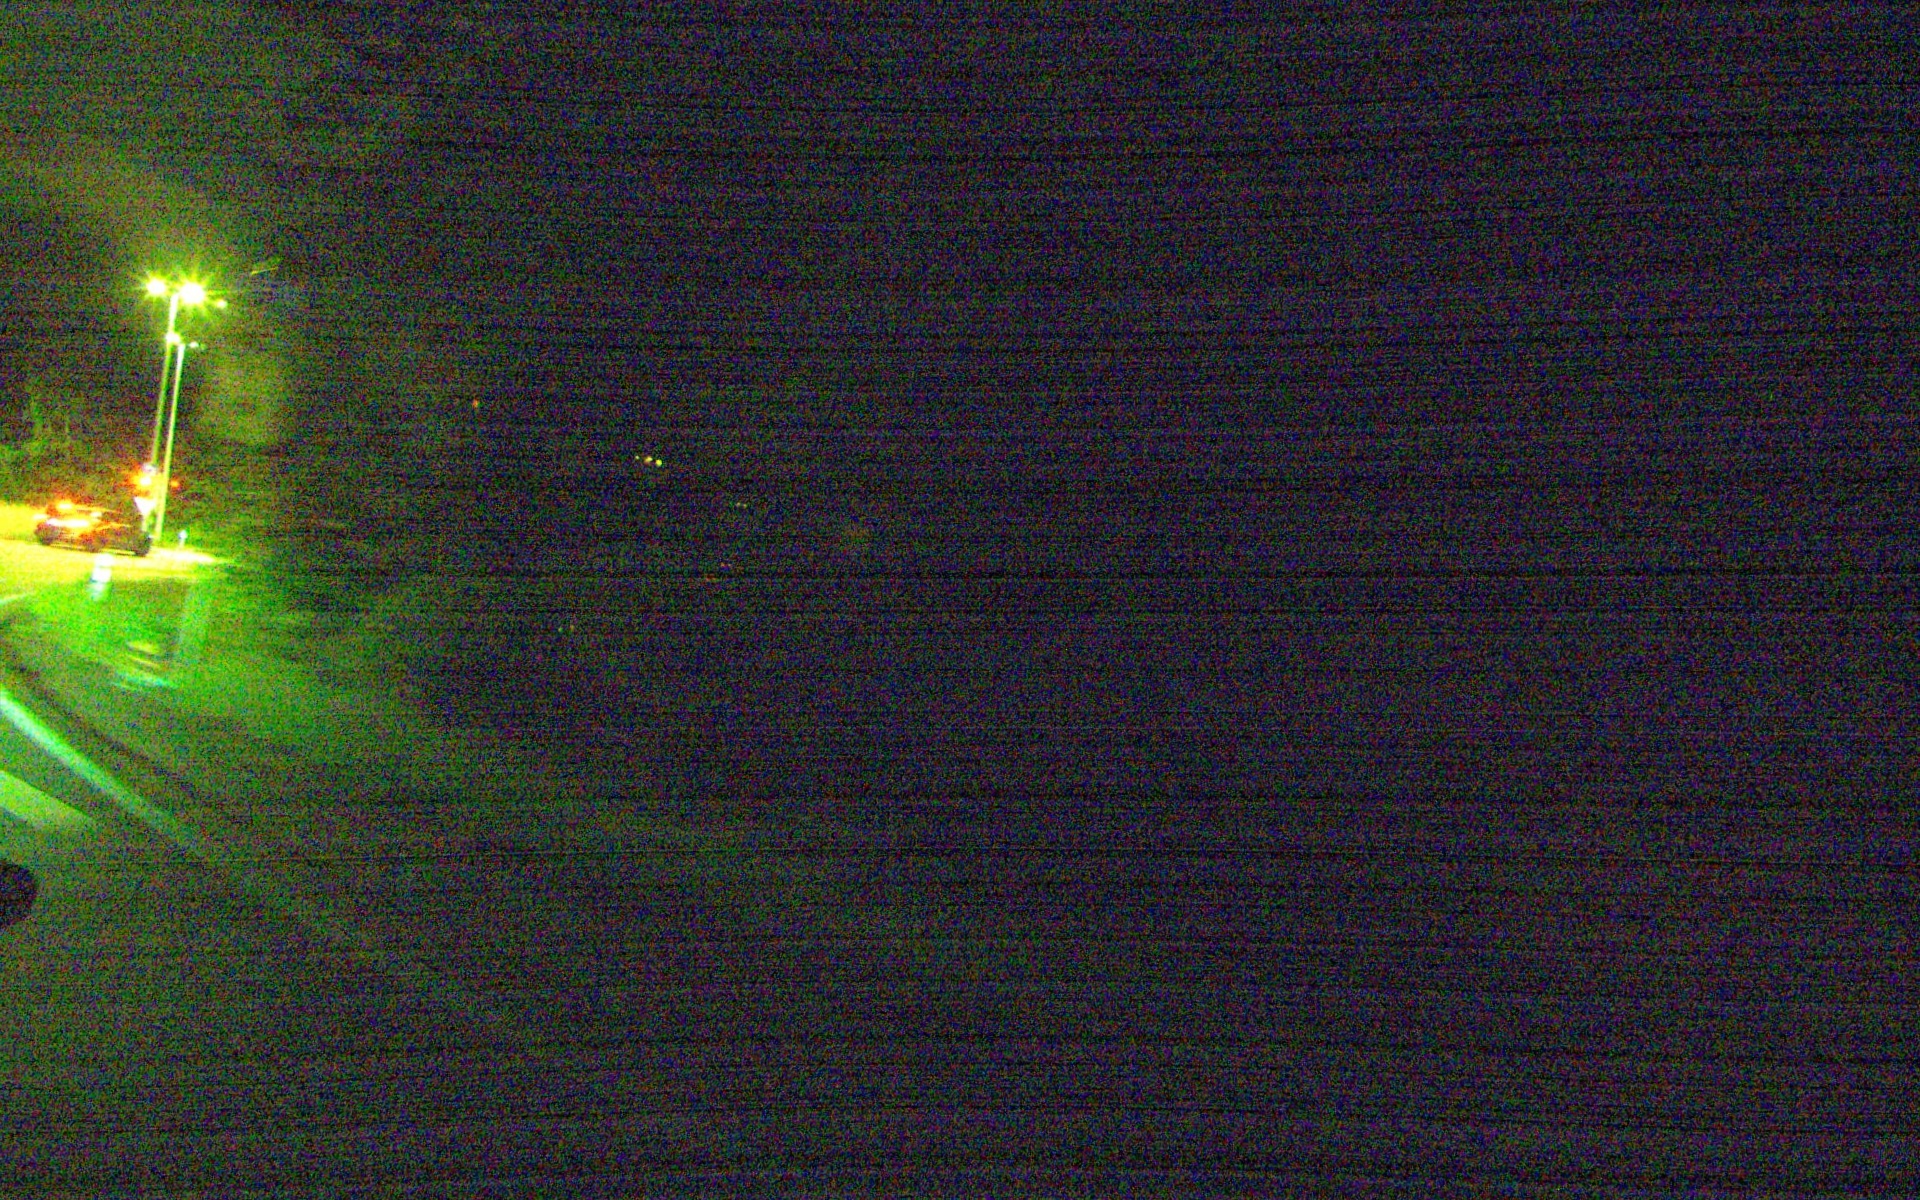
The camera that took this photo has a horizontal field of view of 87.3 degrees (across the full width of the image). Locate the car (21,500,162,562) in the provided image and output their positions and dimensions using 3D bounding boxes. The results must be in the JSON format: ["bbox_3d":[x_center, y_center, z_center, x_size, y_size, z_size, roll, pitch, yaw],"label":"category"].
[{"bbox_3d":[-31.964,-2.487,37.202,1.826,1.600,4.005,9,-3,-7],"label":"car"}]
